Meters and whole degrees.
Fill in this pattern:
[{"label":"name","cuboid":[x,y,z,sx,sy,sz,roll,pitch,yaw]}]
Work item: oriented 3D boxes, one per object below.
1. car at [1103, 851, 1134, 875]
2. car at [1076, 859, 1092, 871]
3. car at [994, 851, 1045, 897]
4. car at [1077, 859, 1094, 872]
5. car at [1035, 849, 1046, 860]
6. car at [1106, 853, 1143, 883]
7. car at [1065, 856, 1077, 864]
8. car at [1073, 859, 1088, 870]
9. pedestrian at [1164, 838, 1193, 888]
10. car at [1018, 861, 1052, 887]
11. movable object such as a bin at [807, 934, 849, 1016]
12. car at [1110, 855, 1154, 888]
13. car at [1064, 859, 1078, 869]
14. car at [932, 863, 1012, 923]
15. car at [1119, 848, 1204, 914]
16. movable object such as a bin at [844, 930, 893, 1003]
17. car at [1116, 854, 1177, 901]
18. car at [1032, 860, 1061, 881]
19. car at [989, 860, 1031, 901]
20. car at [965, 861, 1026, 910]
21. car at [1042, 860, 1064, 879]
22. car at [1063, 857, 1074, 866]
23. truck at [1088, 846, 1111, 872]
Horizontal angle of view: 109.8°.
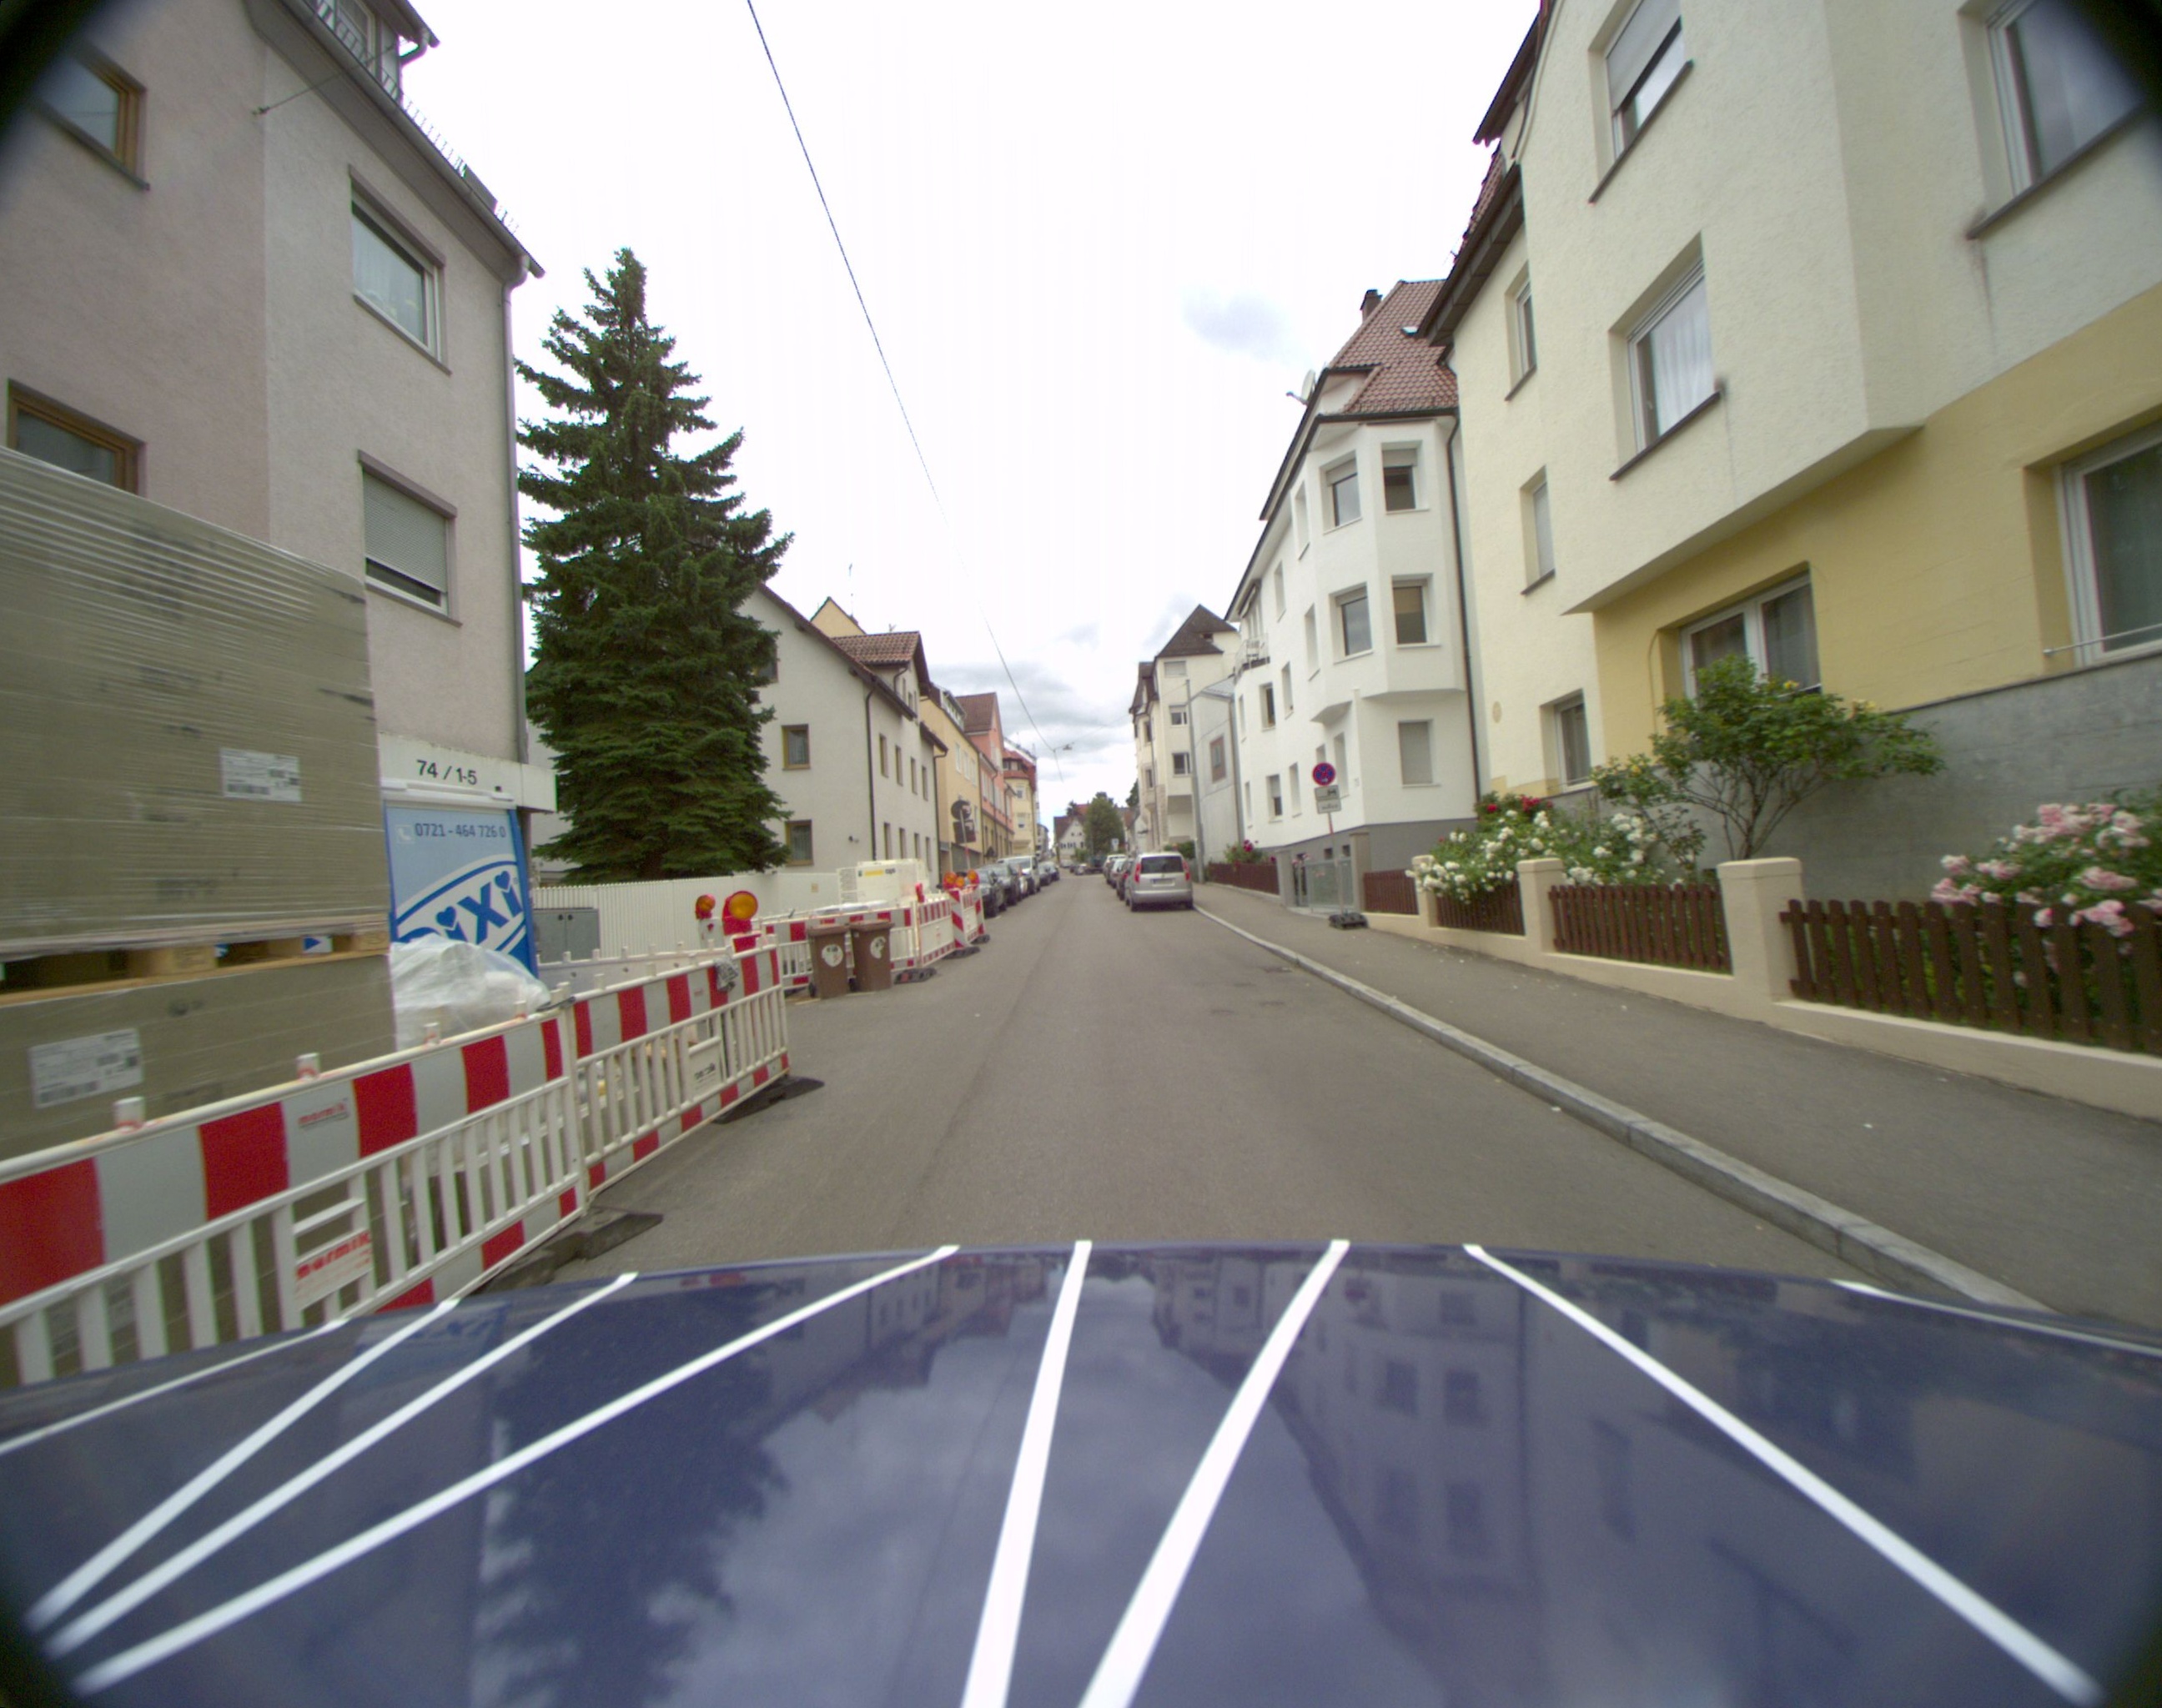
[{"label":"car","cuboid":[2.625,0.635,54.286,1.850,1.506,4.240,-4,-1,-1]},{"label":"car","cuboid":[0.443,1.555,105.649,1.855,1.640,3.946,-2,-2,-4]},{"label":"car","cuboid":[-3.037,0.973,38.736,1.910,2.018,5.733,-5,-1,1]},{"label":"car","cuboid":[0.531,1.477,94.842,1.855,1.454,3.946,-2,-2,-4]},{"label":"car","cuboid":[-9.959,0.049,186.746,2.194,2.630,5.823,-2,0,-5]},{"label":"car","cuboid":[2.481,0.759,44.050,1.900,1.518,4.470,-4,1,1]},{"label":"car","cuboid":[-1.891,1.133,142.210,1.856,1.441,3.944,-2,0,-6]},{"label":"car","cuboid":[-0.056,1.553,112.792,1.856,1.641,3.944,-2,0,-6]},{"label":"pedestrian","cuboid":[3.753,0.344,29.163,0.817,1.873,0.848,-3,0,23]},{"label":"car","cuboid":[-2.966,1.268,49.833,1.857,1.395,4.574,-7,0,0]},{"label":"movable object such as a bin","cuboid":[-3.219,1.521,9.655,0.451,0.971,0.400,-1,-2,-23]},{"label":"car","cuboid":[2.490,0.818,38.139,1.849,1.405,5.061,-4,0,1]},{"label":"car","cuboid":[-1.578,1.629,123.610,1.856,1.641,3.944,-2,0,-6]},{"label":"car","cuboid":[-3.320,1.148,23.926,1.719,1.556,4.073,-5,-1,1]},{"label":"car","cuboid":[2.225,0.732,22.123,1.850,1.621,4.286,-4,-1,-1]},{"label":"movable object such as a bin","cuboid":[-2.766,1.457,9.880,0.400,0.887,0.364,-6,0,39]},{"label":"car","cuboid":[2.279,0.795,27.686,1.849,1.449,4.504,-3,0,1]},{"label":"car","cuboid":[-2.645,1.239,59.023,1.857,1.395,4.293,-5,-1,1]},{"label":"car","cuboid":[-3.095,1.145,33.566,1.490,1.587,2.791,-5,0,0]},{"label":"car","cuboid":[-3.210,1.153,29.262,1.717,1.587,4.499,-5,-1,0]},{"label":"car","cuboid":[-2.404,1.287,65.341,1.672,1.470,3.626,-4,-1,0]},{"label":"car","cuboid":[-2.472,1.451,148.814,1.856,1.441,3.943,-2,1,-6]},{"label":"truck","cuboid":[1.944,0.613,81.882,2.316,2.535,6.290,-2,-2,0]}]
